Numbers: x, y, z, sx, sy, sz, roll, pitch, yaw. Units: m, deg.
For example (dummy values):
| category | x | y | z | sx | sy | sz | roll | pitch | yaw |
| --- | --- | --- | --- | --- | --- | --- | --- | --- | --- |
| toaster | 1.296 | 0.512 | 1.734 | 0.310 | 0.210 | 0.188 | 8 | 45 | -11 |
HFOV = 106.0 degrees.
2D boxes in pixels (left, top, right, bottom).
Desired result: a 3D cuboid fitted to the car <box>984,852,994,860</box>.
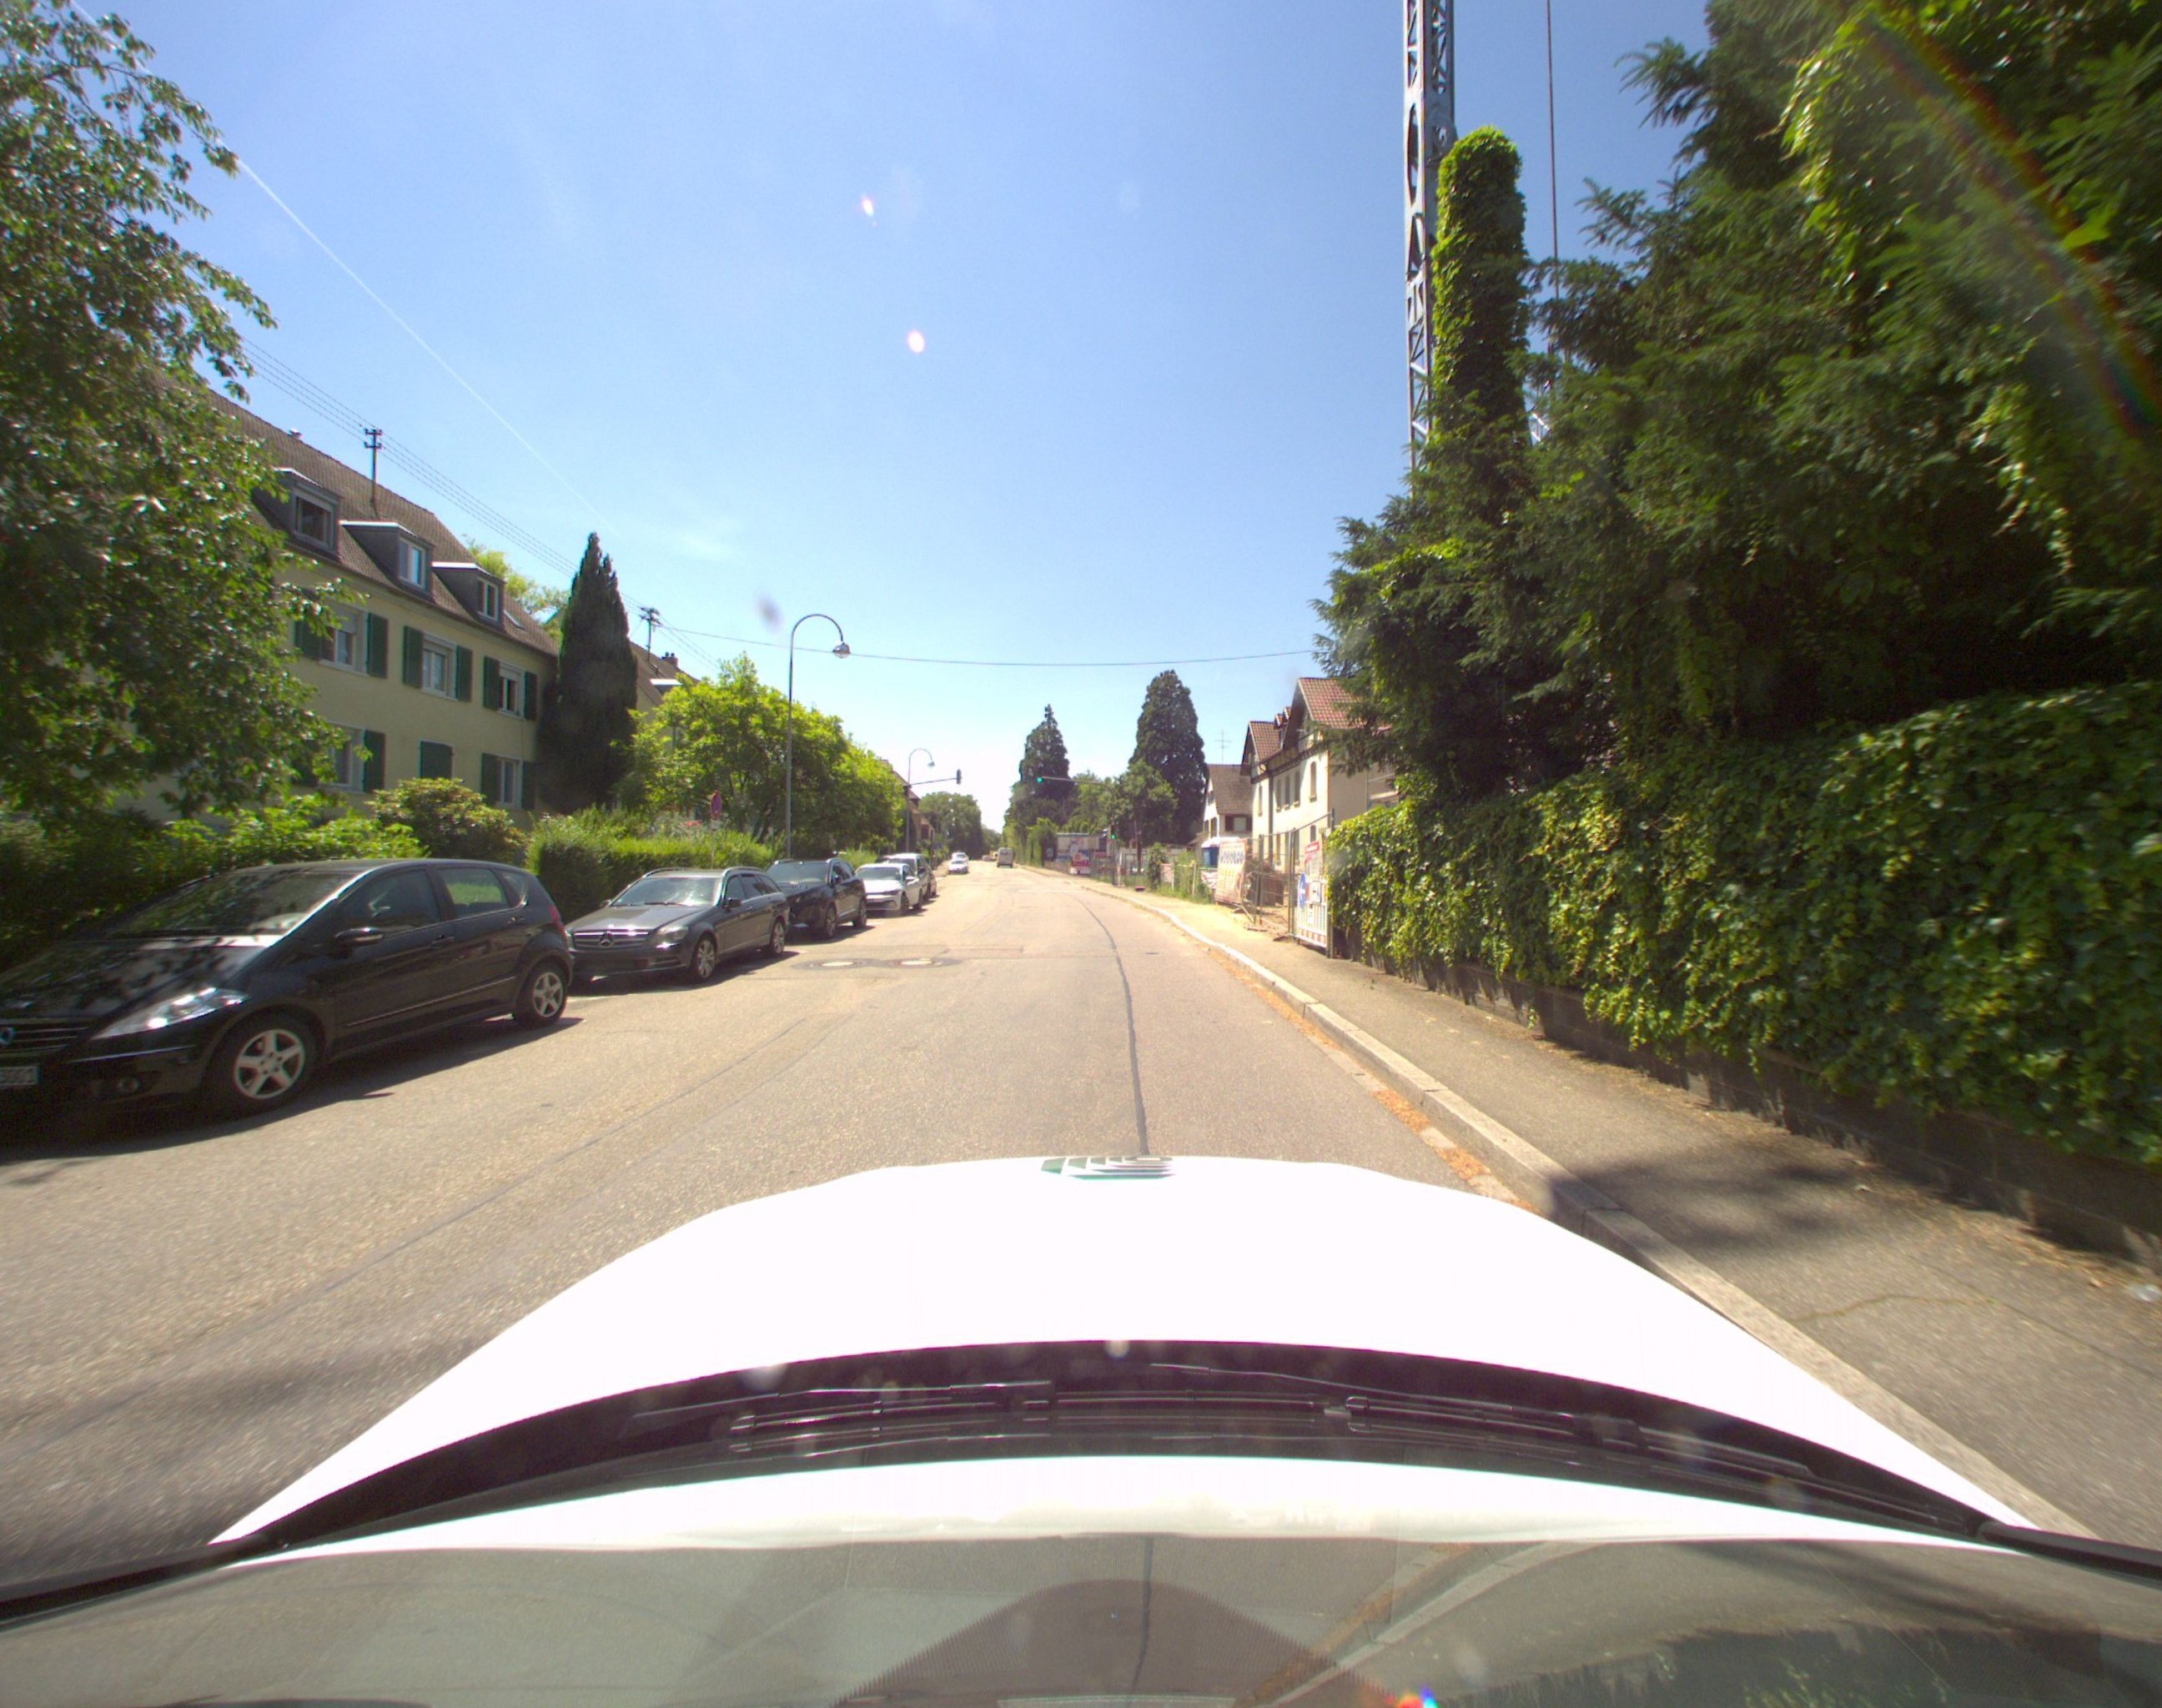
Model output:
| category | x | y | z | sx | sy | sz | roll | pitch | yaw |
| --- | --- | --- | --- | --- | --- | --- | --- | --- | --- |
| car | -19.342 | 0.502 | 171.603 | 1.993 | 1.662 | 3.988 | 1 | -1 | -9 |

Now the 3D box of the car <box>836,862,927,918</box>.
| category | x | y | z | sx | sy | sz | roll | pitch | yaw |
| --- | --- | --- | --- | --- | --- | --- | --- | --- | --- |
| car | -5.669 | 0.987 | 23.595 | 1.676 | 1.441 | 4.243 | -1 | -1 | -2 |

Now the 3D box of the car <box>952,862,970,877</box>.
| category | x | y | z | sx | sy | sz | roll | pitch | yaw |
| --- | --- | --- | --- | --- | --- | --- | --- | --- | --- |
| car | -12.163 | 1.571 | 82.447 | 1.794 | 1.402 | 4.205 | -1 | -1 | -9 |

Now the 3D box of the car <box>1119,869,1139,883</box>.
| category | x | y | z | sx | sy | sz | roll | pitch | yaw |
| --- | --- | --- | --- | --- | --- | --- | --- | --- | --- |
| car | 4.513 | 2.044 | 75.639 | 1.703 | 1.270 | 3.389 | 1 | -1 | 5 |

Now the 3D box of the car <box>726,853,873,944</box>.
| category | x | y | z | sx | sy | sz | roll | pitch | yaw |
| --- | --- | --- | --- | --- | --- | --- | --- | --- | --- |
| car | -5.714 | 0.841 | 17.106 | 1.676 | 1.637 | 4.327 | -1 | -1 | -2 |

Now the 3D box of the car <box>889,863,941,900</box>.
| category | x | y | z | sx | sy | sz | roll | pitch | yaw |
| --- | --- | --- | --- | --- | --- | --- | --- | --- | --- |
| car | -6.799 | 1.116 | 33.753 | 1.678 | 1.412 | 3.918 | -1 | -1 | -5 |

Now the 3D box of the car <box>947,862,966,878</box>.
| category | x | y | z | sx | sy | sz | roll | pitch | yaw |
| --- | --- | --- | --- | --- | --- | --- | --- | --- | --- |
| car | -11.833 | 1.488 | 77.465 | 1.759 | 1.447 | 3.911 | -1 | -1 | -9 |

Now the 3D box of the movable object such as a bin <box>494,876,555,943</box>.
| category | x | y | z | sx | sy | sz | roll | pitch | yaw |
| --- | --- | --- | --- | --- | --- | --- | --- | --- | --- |
| movable object such as a bin | -9.596 | 0.944 | 14.060 | 0.617 | 1.121 | 0.596 | 1 | -1 | 2 |

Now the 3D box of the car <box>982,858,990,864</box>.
| category | x | y | z | sx | sy | sz | roll | pitch | yaw |
| --- | --- | --- | --- | --- | --- | --- | --- | --- | --- |
| car | -26.836 | 1.869 | 230.605 | 1.993 | 1.662 | 3.988 | 1 | -1 | -9 |

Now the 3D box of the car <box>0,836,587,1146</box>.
| category | x | y | z | sx | sy | sz | roll | pitch | yaw |
| --- | --- | --- | --- | --- | --- | --- | --- | --- | --- |
| car | -5.812 | 0.763 | 6.252 | 1.675 | 1.639 | 3.790 | -1 | -1 | 1 |

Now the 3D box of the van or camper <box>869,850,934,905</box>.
| category | x | y | z | sx | sy | sz | roll | pitch | yaw |
| --- | --- | --- | --- | --- | --- | --- | --- | --- | --- |
| van or camper | -6.397 | 0.825 | 29.374 | 1.678 | 1.804 | 3.979 | -1 | -1 | -4 |

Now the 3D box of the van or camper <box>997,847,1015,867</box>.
| category | x | y | z | sx | sy | sz | roll | pitch | yaw |
| --- | --- | --- | --- | --- | --- | --- | --- | --- | --- |
| van or camper | -9.956 | 0.394 | 107.619 | 2.259 | 2.528 | 4.749 | -1 | -1 | -6 |

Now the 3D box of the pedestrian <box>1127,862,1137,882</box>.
| category | x | y | z | sx | sy | sz | roll | pitch | yaw |
| --- | --- | --- | --- | --- | --- | --- | --- | --- | --- |
| pedestrian | 4.228 | 1.496 | 67.482 | 0.695 | 1.600 | 0.571 | 2 | -1 | -8 |

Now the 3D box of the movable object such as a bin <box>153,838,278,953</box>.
| category | x | y | z | sx | sy | sz | roll | pitch | yaw |
| --- | --- | --- | --- | --- | --- | --- | --- | --- | --- |
| movable object such as a bin | -11.409 | 0.525 | 10.772 | 0.655 | 1.453 | 0.917 | 0 | -1 | -2 |

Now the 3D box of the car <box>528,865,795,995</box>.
| category | x | y | z | sx | sy | sz | roll | pitch | yaw |
| --- | --- | --- | --- | --- | --- | --- | --- | --- | --- |
| car | -5.659 | 0.914 | 11.674 | 1.676 | 1.476 | 4.327 | -1 | -1 | -2 |

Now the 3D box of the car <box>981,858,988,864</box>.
| category | x | y | z | sx | sy | sz | roll | pitch | yaw |
| --- | --- | --- | --- | --- | --- | --- | --- | --- | --- |
| car | -29.095 | 2.035 | 244.986 | 1.993 | 1.662 | 3.988 | 1 | -1 | -9 |
